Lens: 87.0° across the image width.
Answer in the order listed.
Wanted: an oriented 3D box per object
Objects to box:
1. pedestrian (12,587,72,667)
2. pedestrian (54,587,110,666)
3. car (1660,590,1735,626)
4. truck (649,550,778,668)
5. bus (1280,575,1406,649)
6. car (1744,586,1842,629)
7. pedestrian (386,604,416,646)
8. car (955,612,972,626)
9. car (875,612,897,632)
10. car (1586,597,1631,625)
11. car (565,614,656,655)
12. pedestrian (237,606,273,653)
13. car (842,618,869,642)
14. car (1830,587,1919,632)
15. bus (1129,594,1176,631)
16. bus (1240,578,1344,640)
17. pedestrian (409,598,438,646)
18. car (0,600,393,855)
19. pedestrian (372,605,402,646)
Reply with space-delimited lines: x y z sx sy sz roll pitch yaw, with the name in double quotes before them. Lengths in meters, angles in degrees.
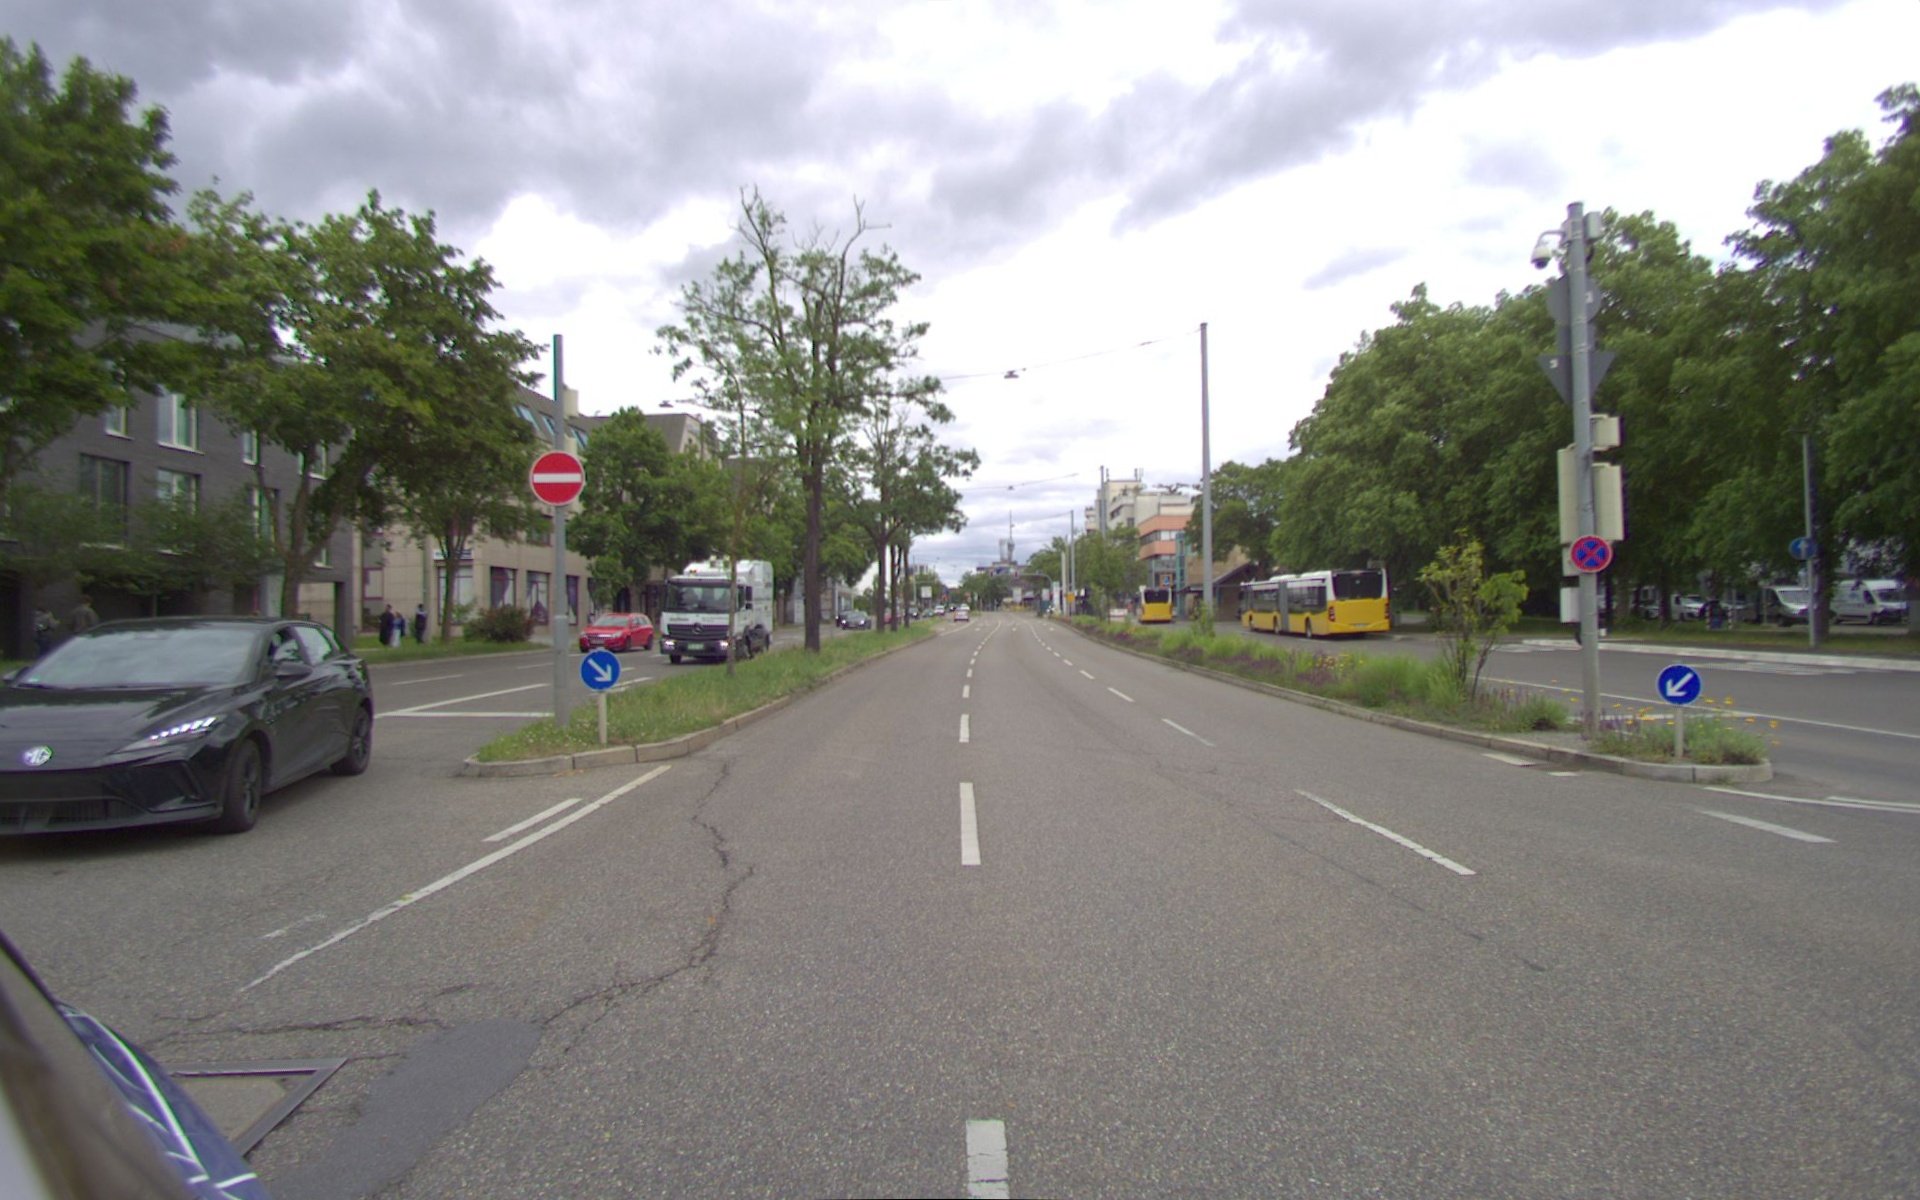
"pedestrian" -20.833 0.604 22.972 0.683 1.759 0.699 -2 0 -4
"pedestrian" -20.072 0.589 23.139 0.683 1.759 0.649 -2 0 -4
"car" 47.584 0.488 65.448 2.300 2.107 5.458 -1 1 19
"truck" -7.467 0.299 31.472 2.403 3.219 6.466 2 -1 -1
"bus" 17.299 0.483 46.379 3.014 3.031 8.419 -2 0 4
"car" 43.769 0.346 53.324 2.203 2.133 5.273 -1 1 19
"pedestrian" -19.681 0.883 35.634 0.684 1.444 0.598 -2 0 1
"car" 0.418 2.283 120.667 1.728 1.540 3.744 -2 0 5
"car" -7.295 2.180 100.266 1.867 1.757 3.669 -2 0 1
"car" 49.475 0.799 77.287 1.987 1.953 4.558 -1 1 22
"car" -13.008 1.254 37.987 1.972 1.434 4.356 0 -1 -1
"pedestrian" -20.903 0.860 30.017 0.530 1.367 0.657 -1 0 10
"car" -8.459 2.392 82.251 1.970 1.707 4.607 -2 0 -4
"car" 50.531 0.452 55.519 2.300 2.271 5.458 -1 1 19
"bus" 17.019 1.007 90.037 3.256 3.031 10.211 -2 0 6
"bus" 17.922 0.434 55.408 3.014 3.031 9.685 -2 0 4
"pedestrian" -18.975 0.774 35.788 0.684 1.632 0.598 -2 0 1
"car" -6.099 0.798 7.967 1.771 1.495 4.030 3 -2 -14
"pedestrian" -20.362 0.905 35.978 0.684 1.401 0.598 -2 0 1
